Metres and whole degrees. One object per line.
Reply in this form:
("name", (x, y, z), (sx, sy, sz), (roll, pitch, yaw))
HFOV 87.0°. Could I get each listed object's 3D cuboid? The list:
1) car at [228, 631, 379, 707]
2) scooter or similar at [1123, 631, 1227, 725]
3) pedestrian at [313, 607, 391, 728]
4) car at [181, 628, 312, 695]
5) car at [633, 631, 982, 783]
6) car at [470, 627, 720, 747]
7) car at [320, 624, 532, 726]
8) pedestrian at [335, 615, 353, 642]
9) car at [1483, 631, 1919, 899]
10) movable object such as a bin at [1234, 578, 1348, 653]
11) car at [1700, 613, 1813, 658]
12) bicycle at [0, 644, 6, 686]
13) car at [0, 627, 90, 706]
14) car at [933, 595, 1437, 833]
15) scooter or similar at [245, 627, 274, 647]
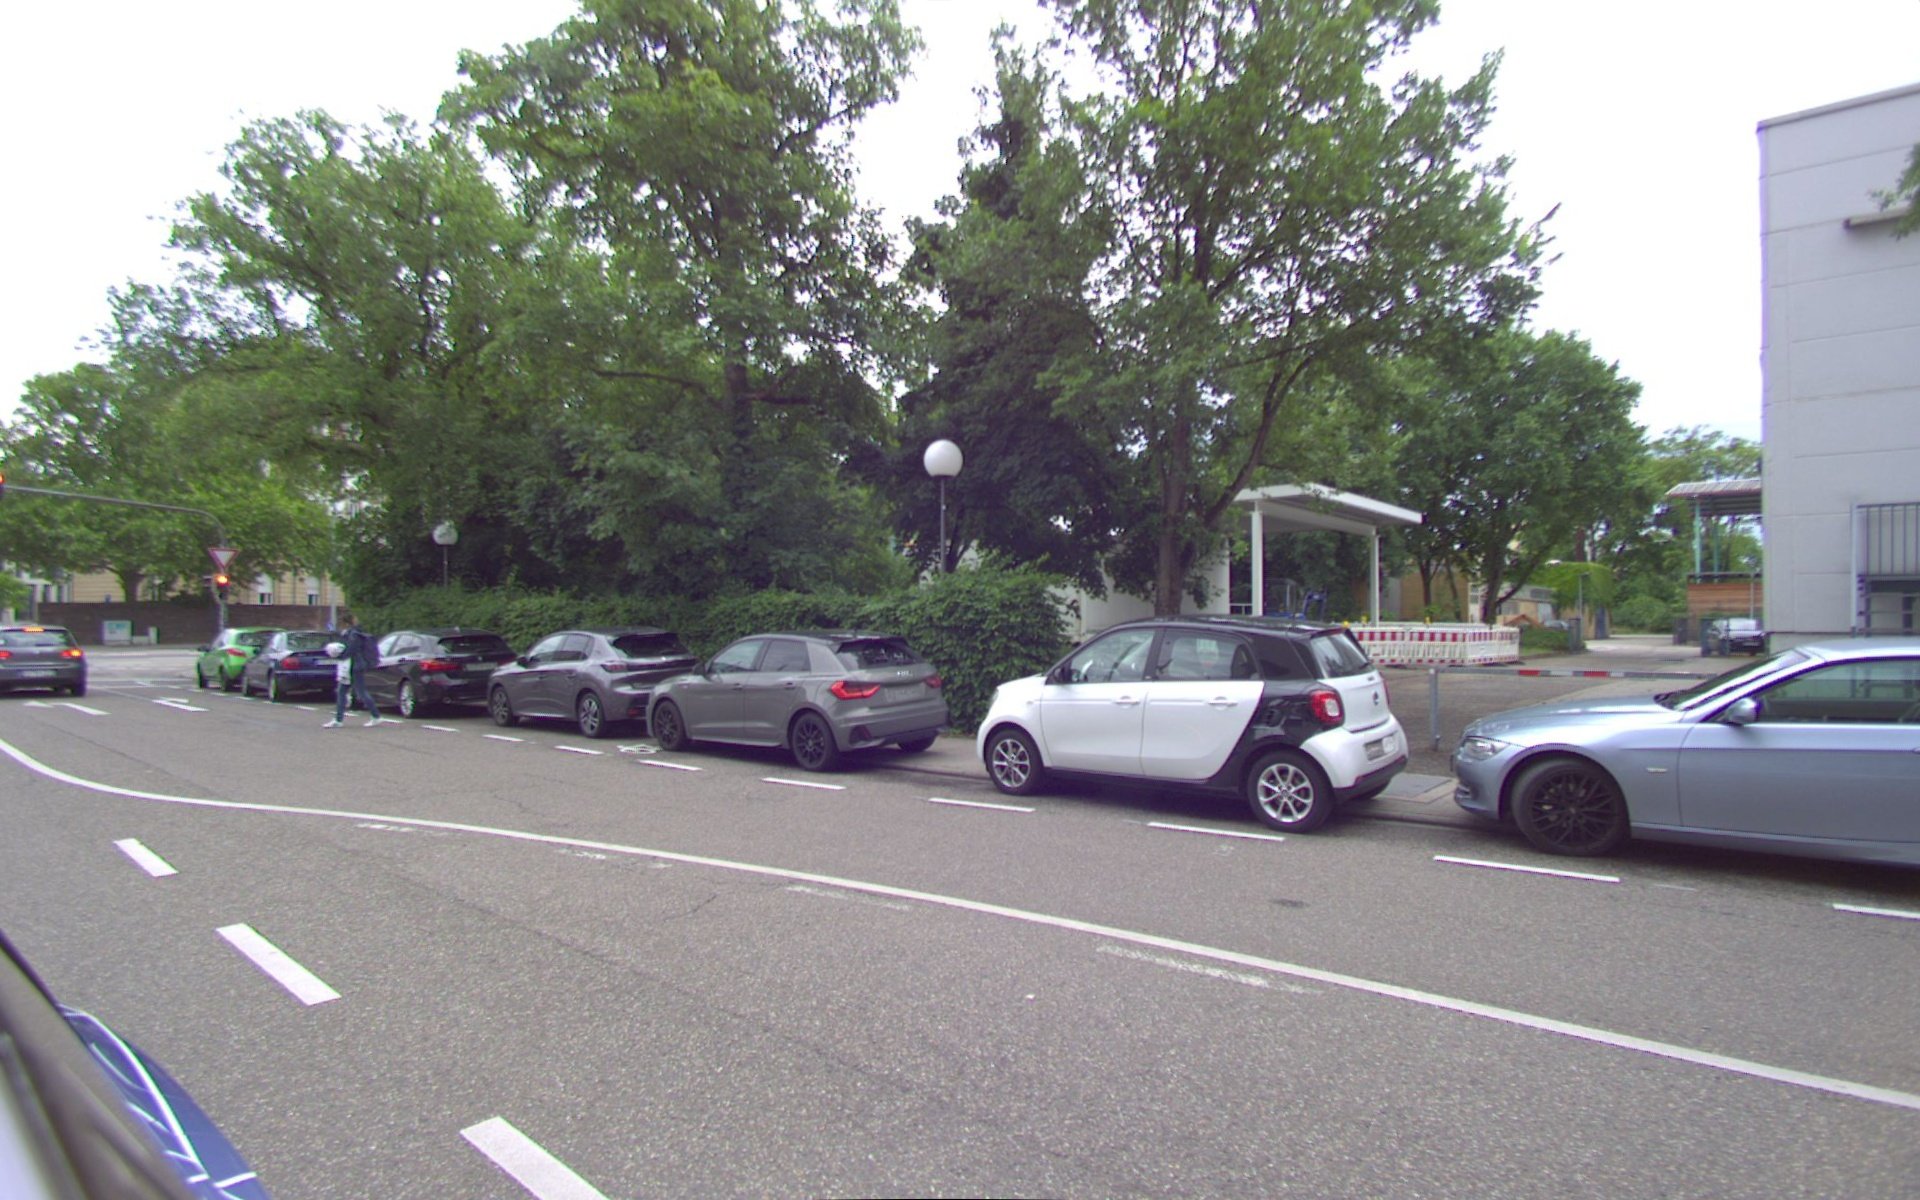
("car", (-13.893, 1.373, 21.318), (4.338, 1.419, 1.777), (-1, -2, 45))
("scooter or similar", (2.902, 1.045, 13.707), (1.285, 1.219, 0.451), (0, -1, -8))
("pedestrian", (-8.827, 0.966, 14.684), (0.730, 1.674, 0.968), (3, -4, -45))
("car", (-17.566, 1.433, 24.829), (4.248, 1.481, 1.778), (-1, -2, 43))
("car", (-1.854, 1.091, 11.575), (4.005, 1.422, 1.745), (-2, -2, 40))
("car", (-5.342, 1.142, 14.616), (3.822, 1.482, 1.743), (-1, -2, 41))
("car", (-9.494, 1.245, 17.841), (4.528, 1.573, 1.779), (-2, -3, 41))
("pedestrian", (-38.343, 1.771, 62.990), (0.777, 1.706, 0.635), (0, -1, 33))
("car", (5.667, 0.902, 6.110), (4.189, 1.399, 1.800), (-2, -1, 39))
("movable object such as a bin", (10.487, 0.545, 31.850), (1.997, 2.188, 4.611), (-1, -3, 37))
("car", (28.930, 1.268, 36.905), (1.862, 1.542, 3.749), (-1, -2, 16))
("bicycle", (-24.869, 1.621, 25.600), (1.852, 1.045, 0.652), (-1, -2, 34))
("car", (-19.917, 1.334, 21.348), (4.166, 1.508, 1.764), (-1, -2, 41))
("car", (1.779, 0.827, 8.702), (3.875, 1.598, 1.698), (-2, -2, 40))
("scooter or similar", (-42.713, 2.262, 61.761), (1.389, 1.239, 0.497), (2, 0, -30))
